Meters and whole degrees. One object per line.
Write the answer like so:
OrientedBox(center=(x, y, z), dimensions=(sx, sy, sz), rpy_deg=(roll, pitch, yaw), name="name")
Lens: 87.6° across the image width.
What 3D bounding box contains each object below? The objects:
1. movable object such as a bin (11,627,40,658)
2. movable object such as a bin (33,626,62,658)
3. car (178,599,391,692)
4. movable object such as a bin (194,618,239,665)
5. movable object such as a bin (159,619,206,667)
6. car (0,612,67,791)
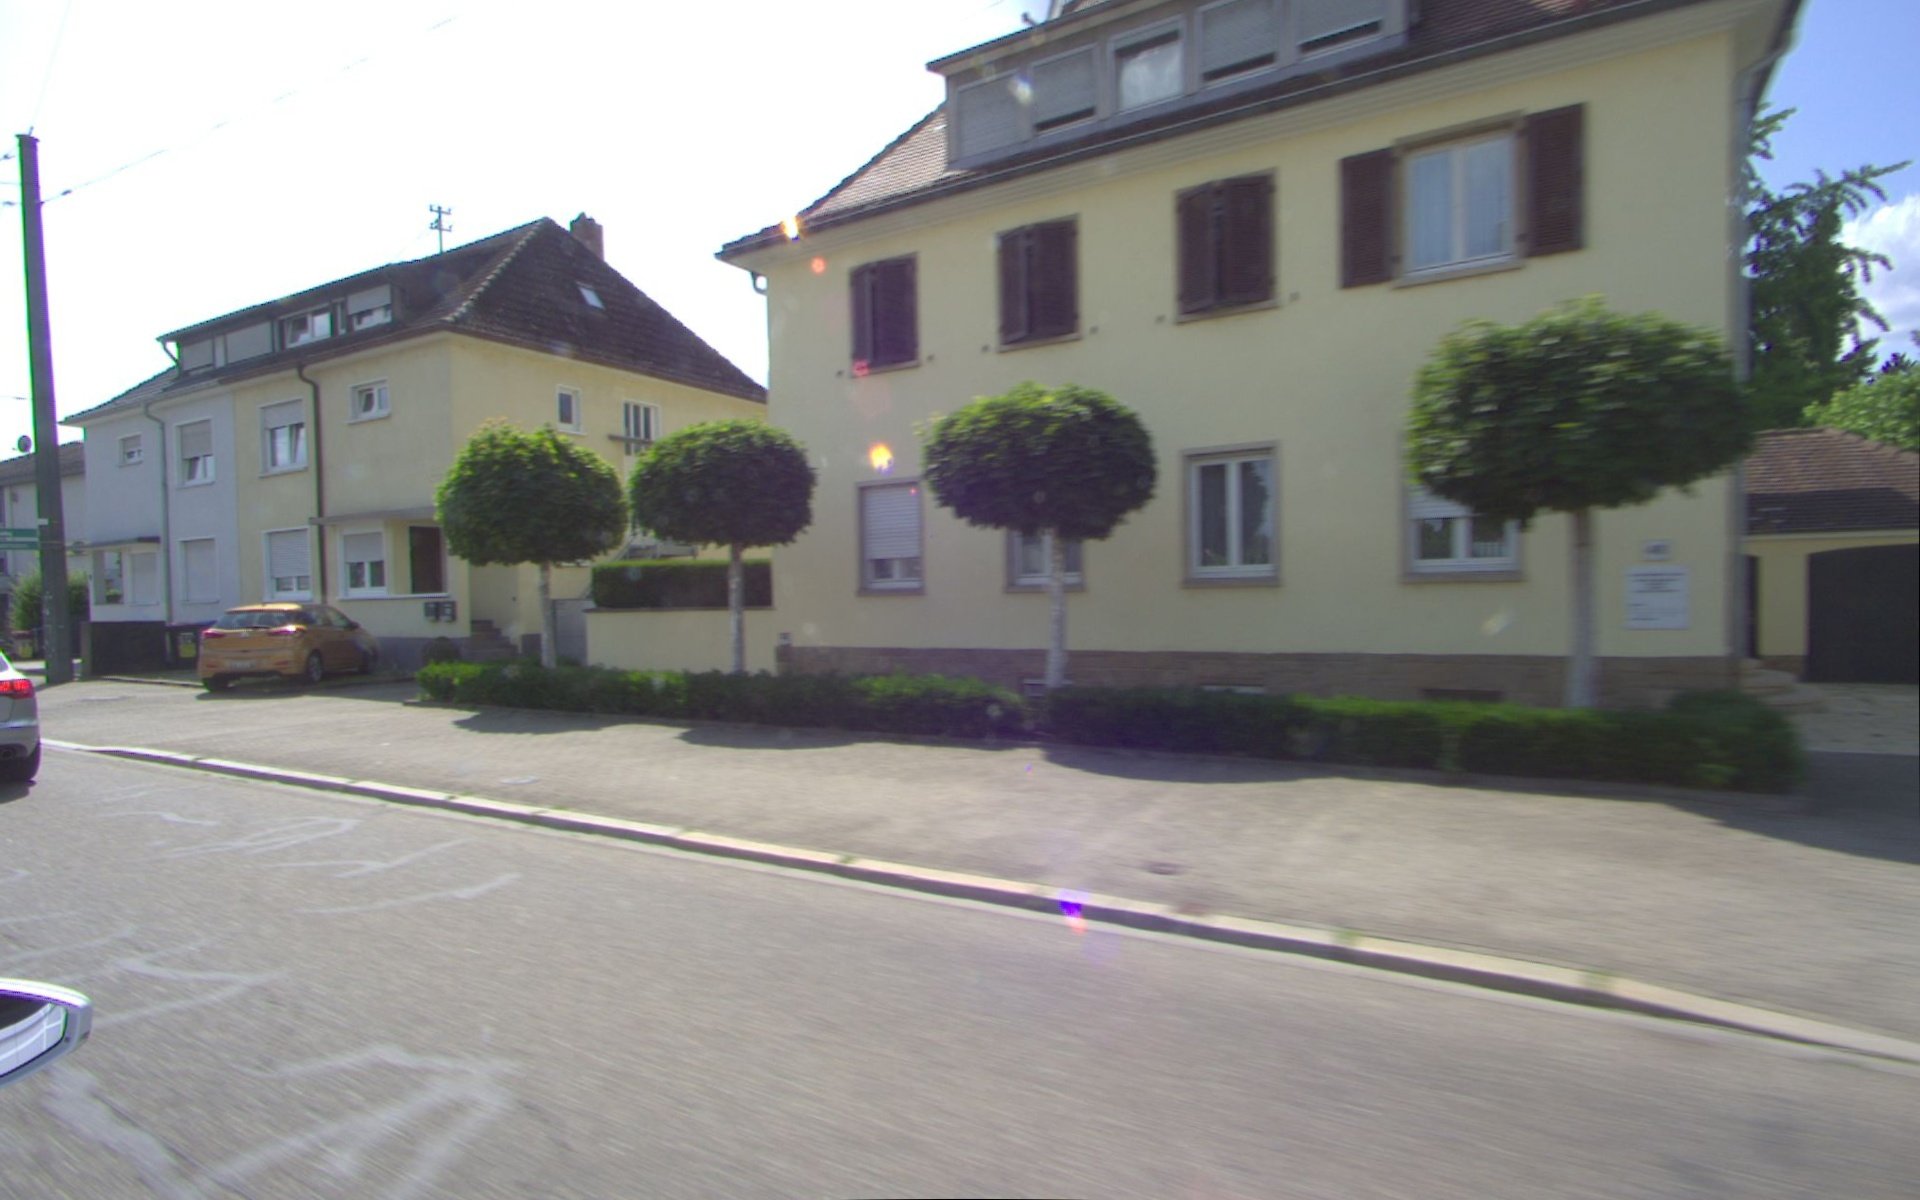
OrientedBox(center=(-27.855, 1.263, 29.863), dimensions=(0.537, 0.907, 0.444), rpy_deg=(0, 1, 24), name="movable object such as a bin")
OrientedBox(center=(-27.612, 1.253, 30.303), dimensions=(0.541, 0.947, 0.441), rpy_deg=(0, 1, 24), name="movable object such as a bin")
OrientedBox(center=(-12.633, 0.762, 19.079), dimensions=(1.880, 1.478, 4.087), rpy_deg=(0, 1, -11), name="car")
OrientedBox(center=(-17.430, 0.956, 23.478), dimensions=(0.649, 1.069, 0.644), rpy_deg=(0, 0, 29), name="movable object such as a bin")
OrientedBox(center=(-17.736, 0.976, 22.844), dimensions=(0.674, 1.061, 0.637), rpy_deg=(0, 0, 29), name="movable object such as a bin")
OrientedBox(center=(-10.233, 0.875, 9.269), dimensions=(4.472, 1.512, 1.850), rpy_deg=(-1, -1, 33), name="car")
